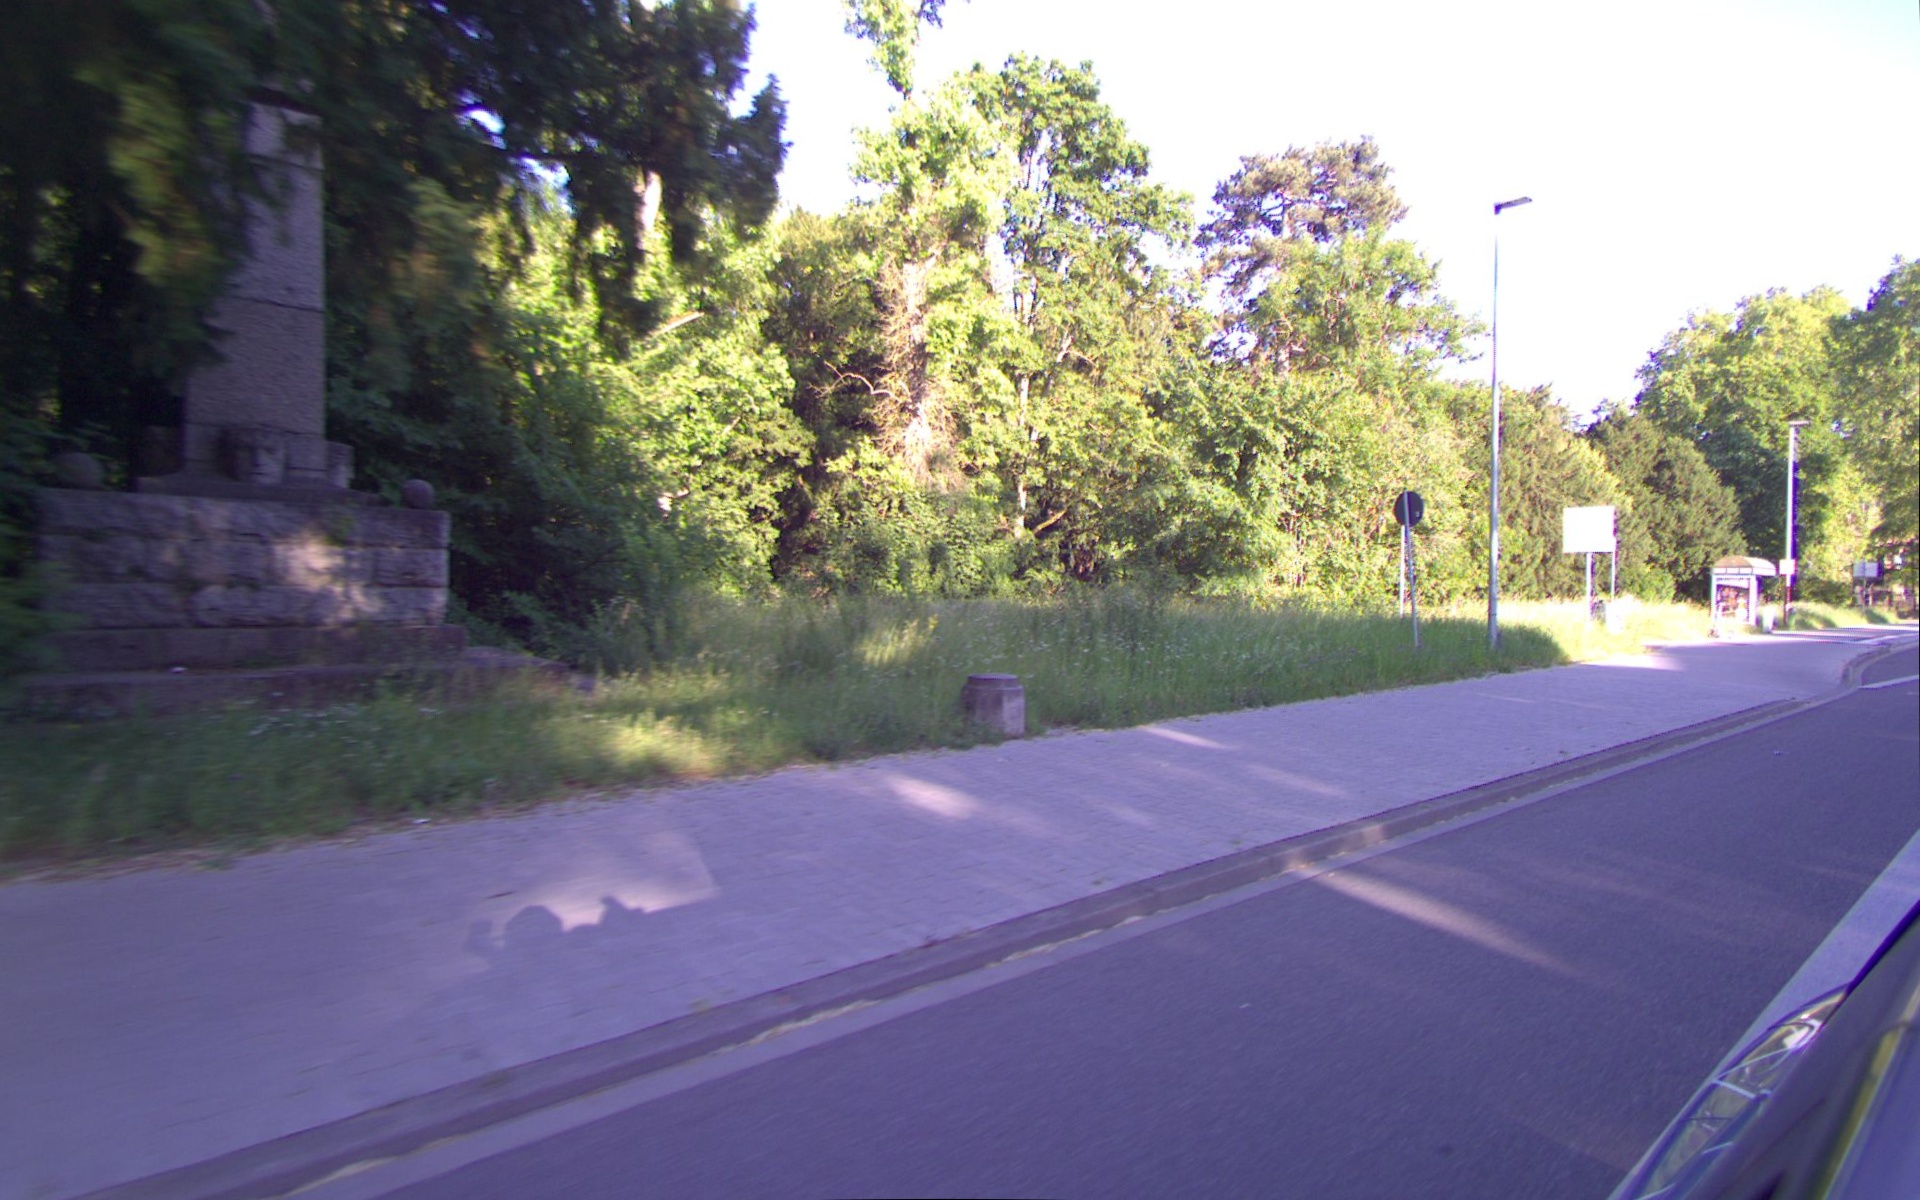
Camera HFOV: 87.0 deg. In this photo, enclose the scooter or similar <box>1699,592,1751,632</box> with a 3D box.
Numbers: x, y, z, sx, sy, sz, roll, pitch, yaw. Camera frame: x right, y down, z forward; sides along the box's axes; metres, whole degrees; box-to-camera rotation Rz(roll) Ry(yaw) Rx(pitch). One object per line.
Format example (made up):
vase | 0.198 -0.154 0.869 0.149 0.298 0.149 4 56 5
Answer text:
scooter or similar | 25.249 0.398 33.400 1.300 1.263 0.726 1 1 -18
